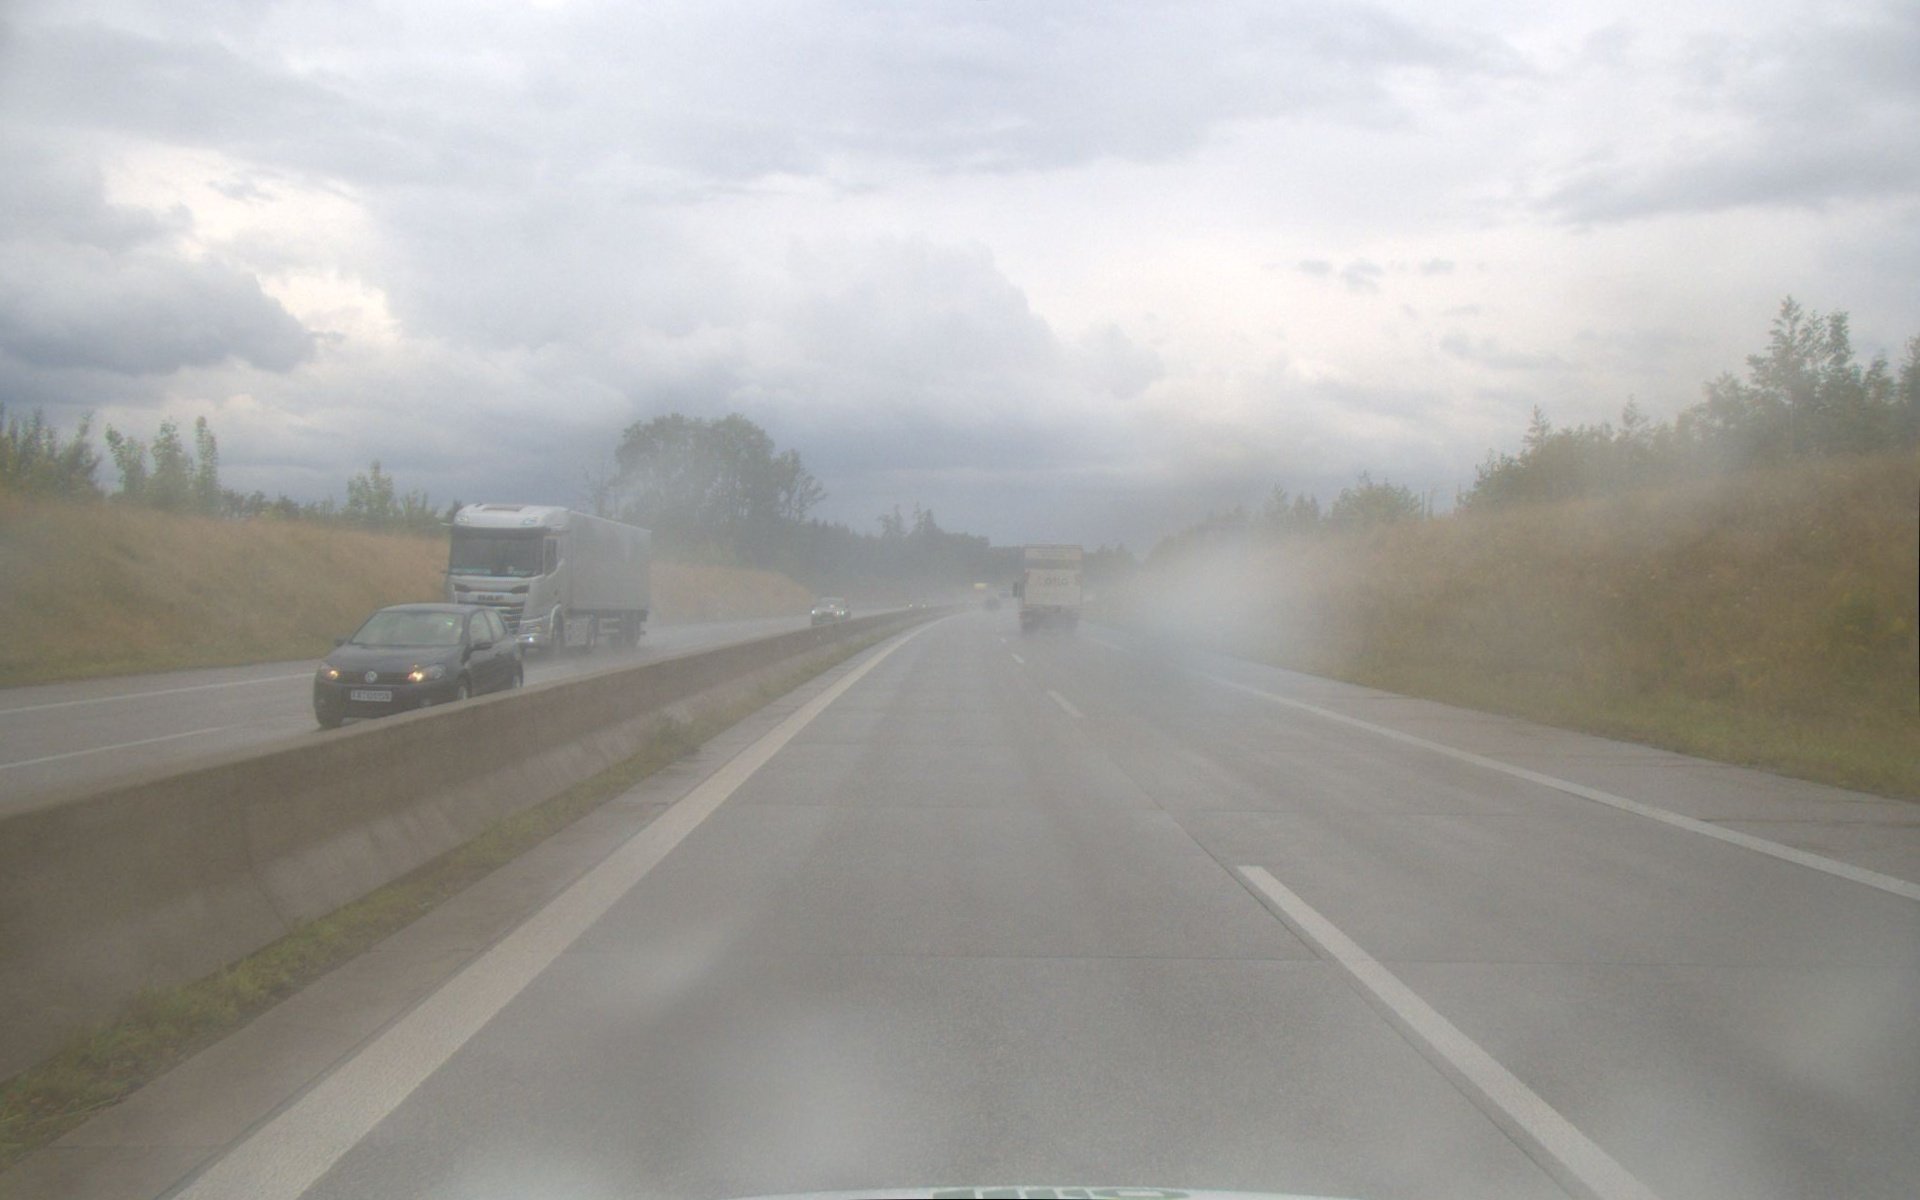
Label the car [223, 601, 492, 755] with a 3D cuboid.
[{"bbox_3d":[-6.777,0.803,19.049,1.627,1.512,4.000,-2,0,-1],"label":"car"}]

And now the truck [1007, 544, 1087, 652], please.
[{"bbox_3d":[3.762,-0.159,73.315,3.177,4.514,8.247,0,1,1],"label":"truck"}]

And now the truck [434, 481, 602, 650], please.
[{"bbox_3d":[-10.863,-0.814,41.135,2.827,3.937,5.193,0,0,-1],"label":"truck"}]

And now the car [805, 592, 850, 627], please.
[{"bbox_3d":[-6.875,0.483,86.075,1.953,1.545,4.190,-2,2,0],"label":"car"}]

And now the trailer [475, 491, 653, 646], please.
[{"bbox_3d":[-10.942,-0.865,46.733,2.845,3.907,9.358,1,1,-1],"label":"trailer"}]

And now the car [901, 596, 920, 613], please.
[{"bbox_3d":[-4.691,0.405,156.594,1.590,1.453,4.001,-2,2,1],"label":"car"}]
